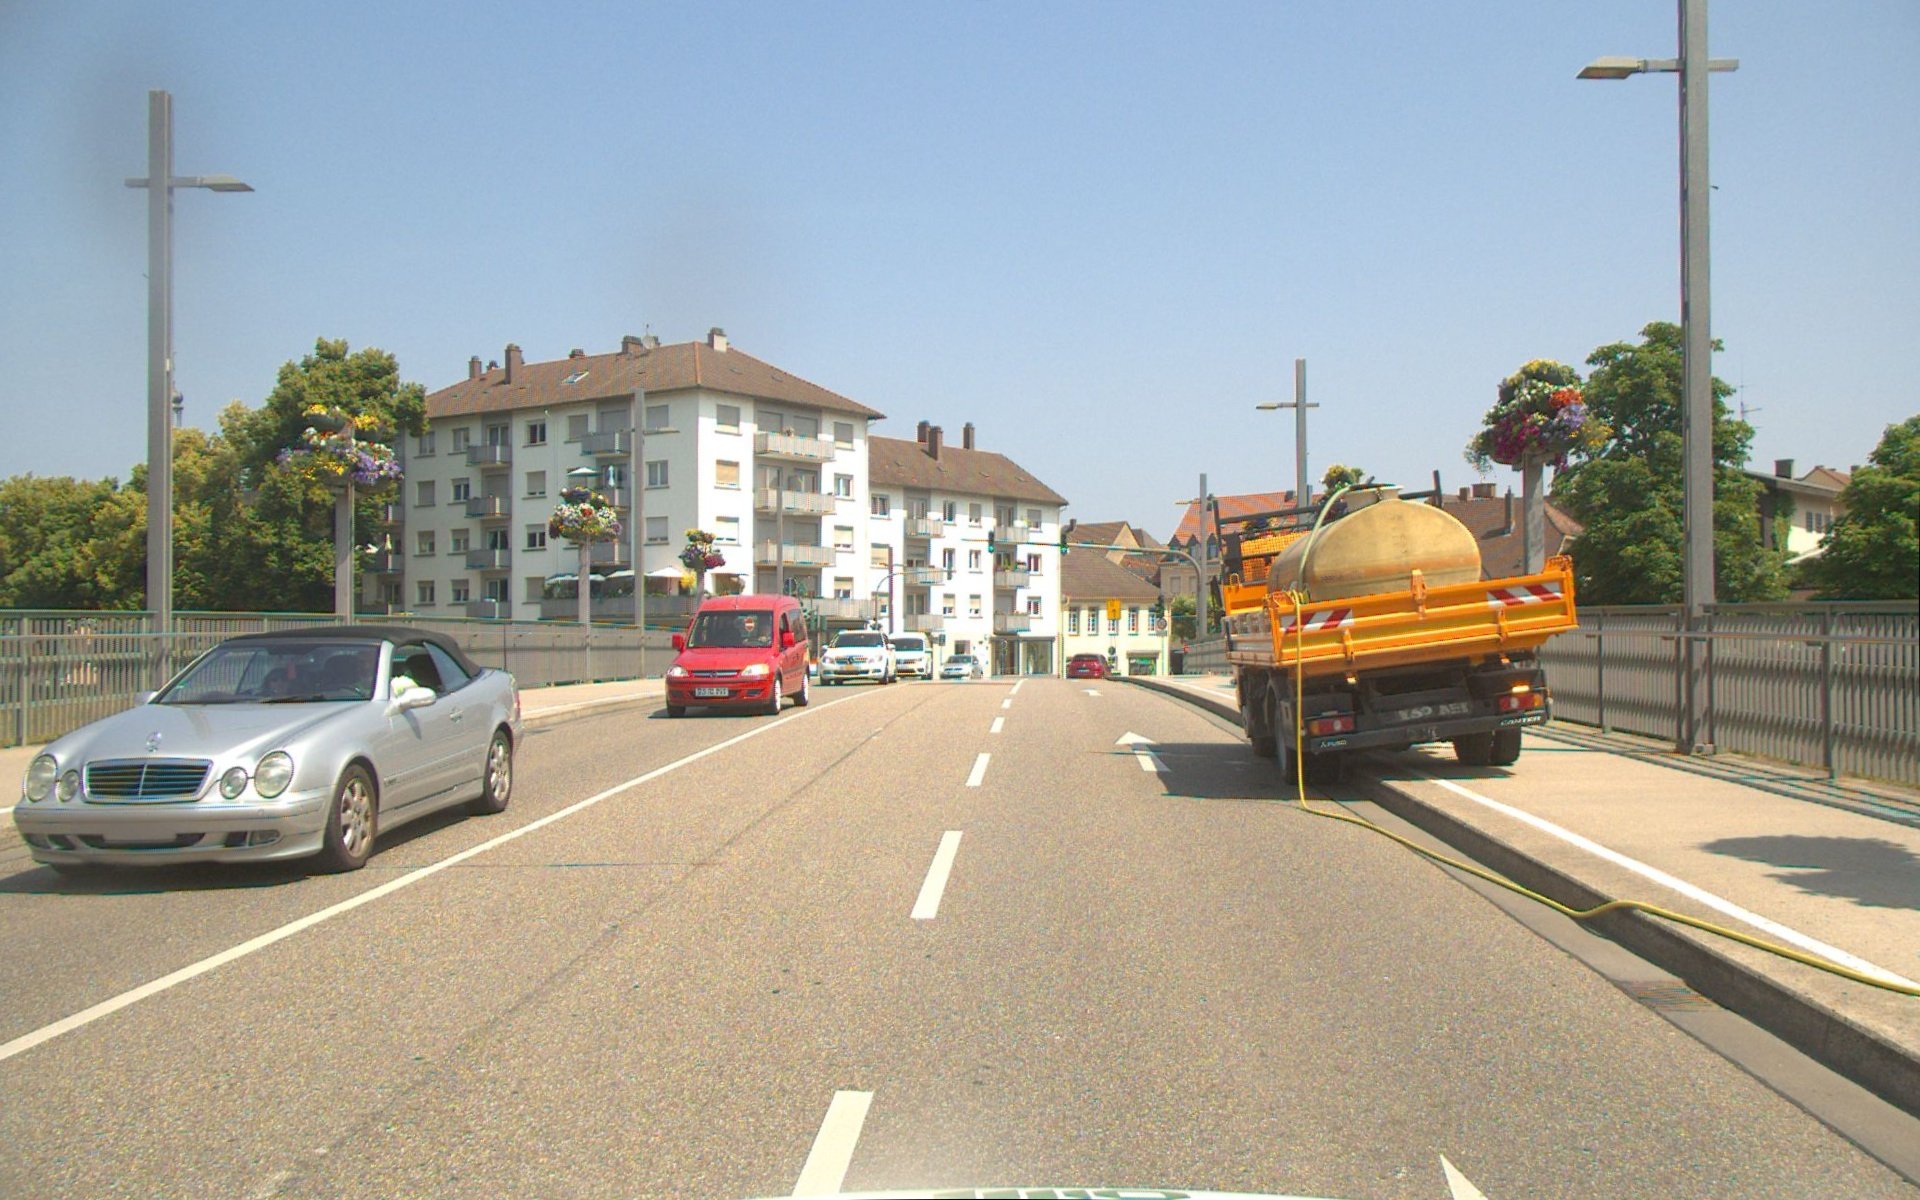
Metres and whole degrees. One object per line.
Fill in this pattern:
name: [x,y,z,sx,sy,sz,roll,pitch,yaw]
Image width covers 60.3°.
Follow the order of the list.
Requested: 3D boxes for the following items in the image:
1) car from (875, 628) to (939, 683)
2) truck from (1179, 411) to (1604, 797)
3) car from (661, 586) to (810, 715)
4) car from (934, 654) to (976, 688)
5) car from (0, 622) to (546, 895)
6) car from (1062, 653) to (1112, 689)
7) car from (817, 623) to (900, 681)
car: [-1.976,2.136,62.489,1.722,1.890,4.648,-4,-3,5]
truck: [3.674,0.074,15.557,2.552,2.737,5.825,-5,-1,3]
car: [-3.344,0.772,25.332,1.700,1.808,4.176,0,-2,0]
car: [-0.206,3.459,81.050,1.723,1.546,4.001,-2,-2,4]
car: [-4.171,0.860,10.706,1.663,1.382,4.457,-1,-1,3]
car: [6.432,3.551,83.146,1.947,1.641,4.346,-1,-1,12]
car: [-2.668,1.390,44.352,1.806,1.457,4.714,0,-2,1]
